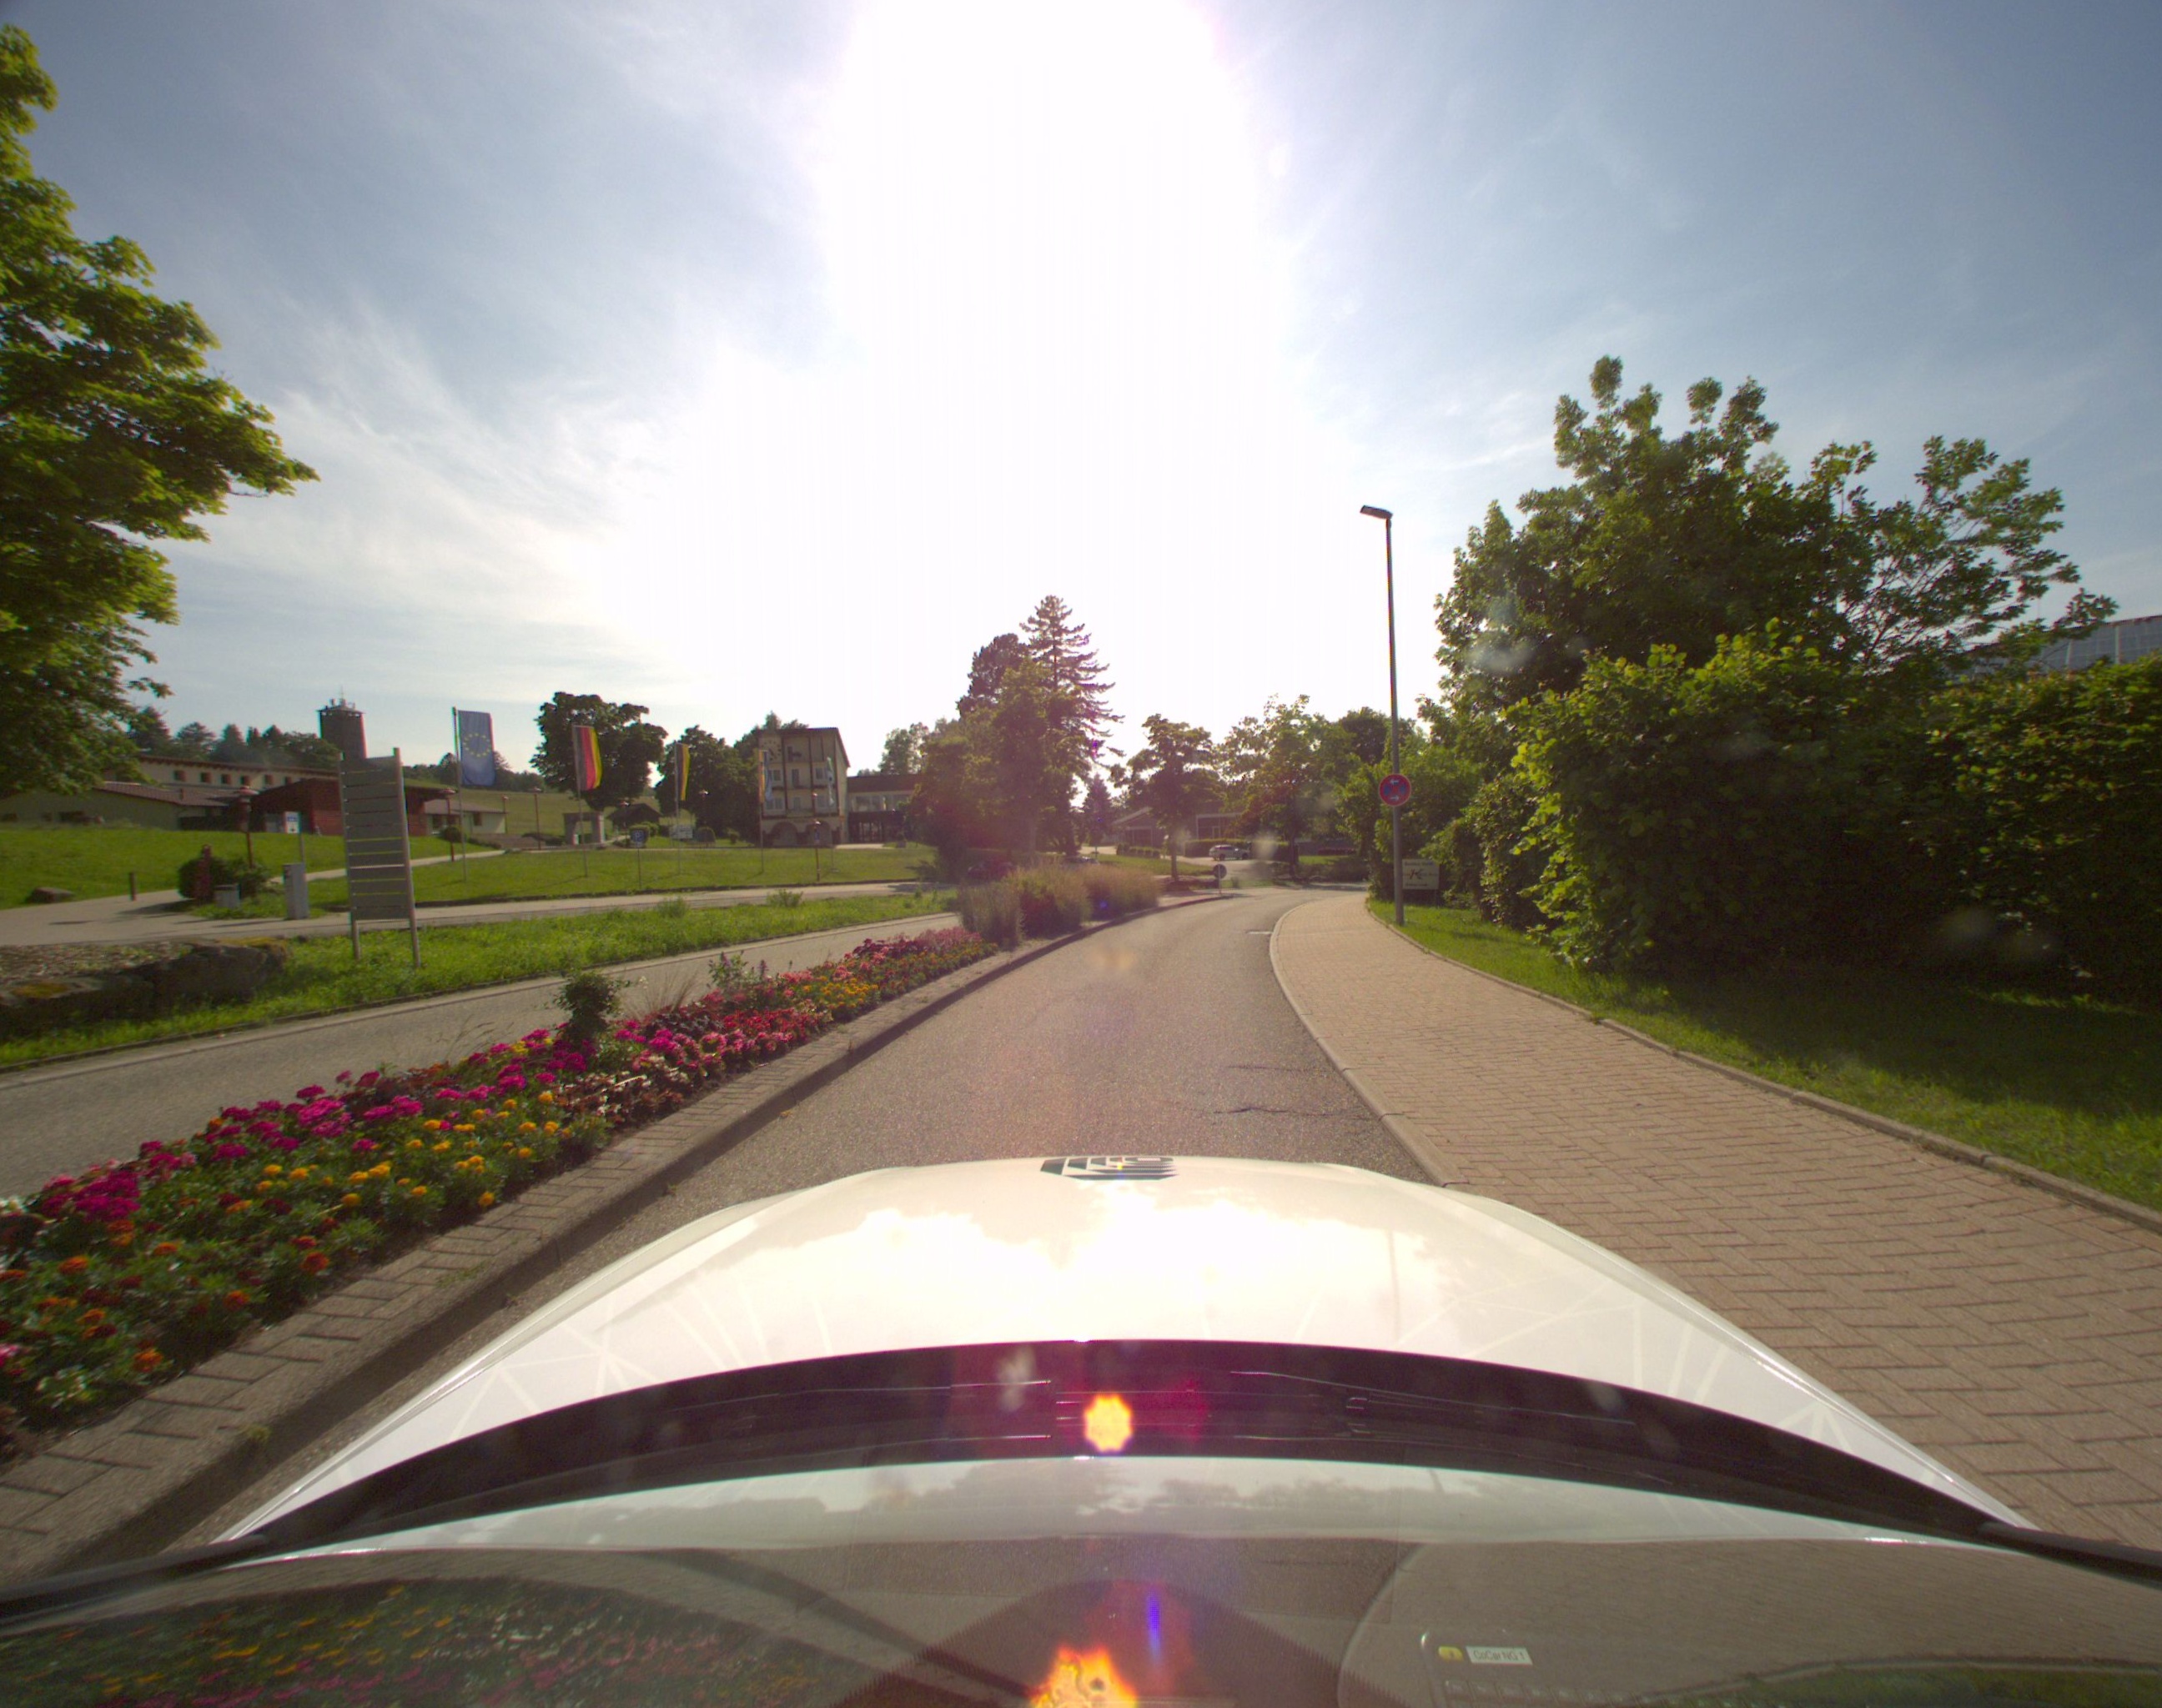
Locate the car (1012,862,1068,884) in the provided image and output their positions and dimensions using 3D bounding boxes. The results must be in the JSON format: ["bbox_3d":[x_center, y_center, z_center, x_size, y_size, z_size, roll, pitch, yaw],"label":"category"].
[{"bbox_3d":[-2.836,1.260,55.745,3.667,1.433,1.787,1,0,42],"label":"car"}]

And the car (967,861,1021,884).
[{"bbox_3d":[-5.727,1.189,53.558,3.167,1.470,1.787,1,0,40],"label":"car"}]

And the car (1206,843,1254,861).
[{"bbox_3d":[16.067,-0.215,87.734,4.724,1.533,1.990,-3,5,-16],"label":"car"}]

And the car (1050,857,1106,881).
[{"bbox_3d":[-0.244,1.044,58.872,3.891,1.609,1.787,1,0,41],"label":"car"}]
